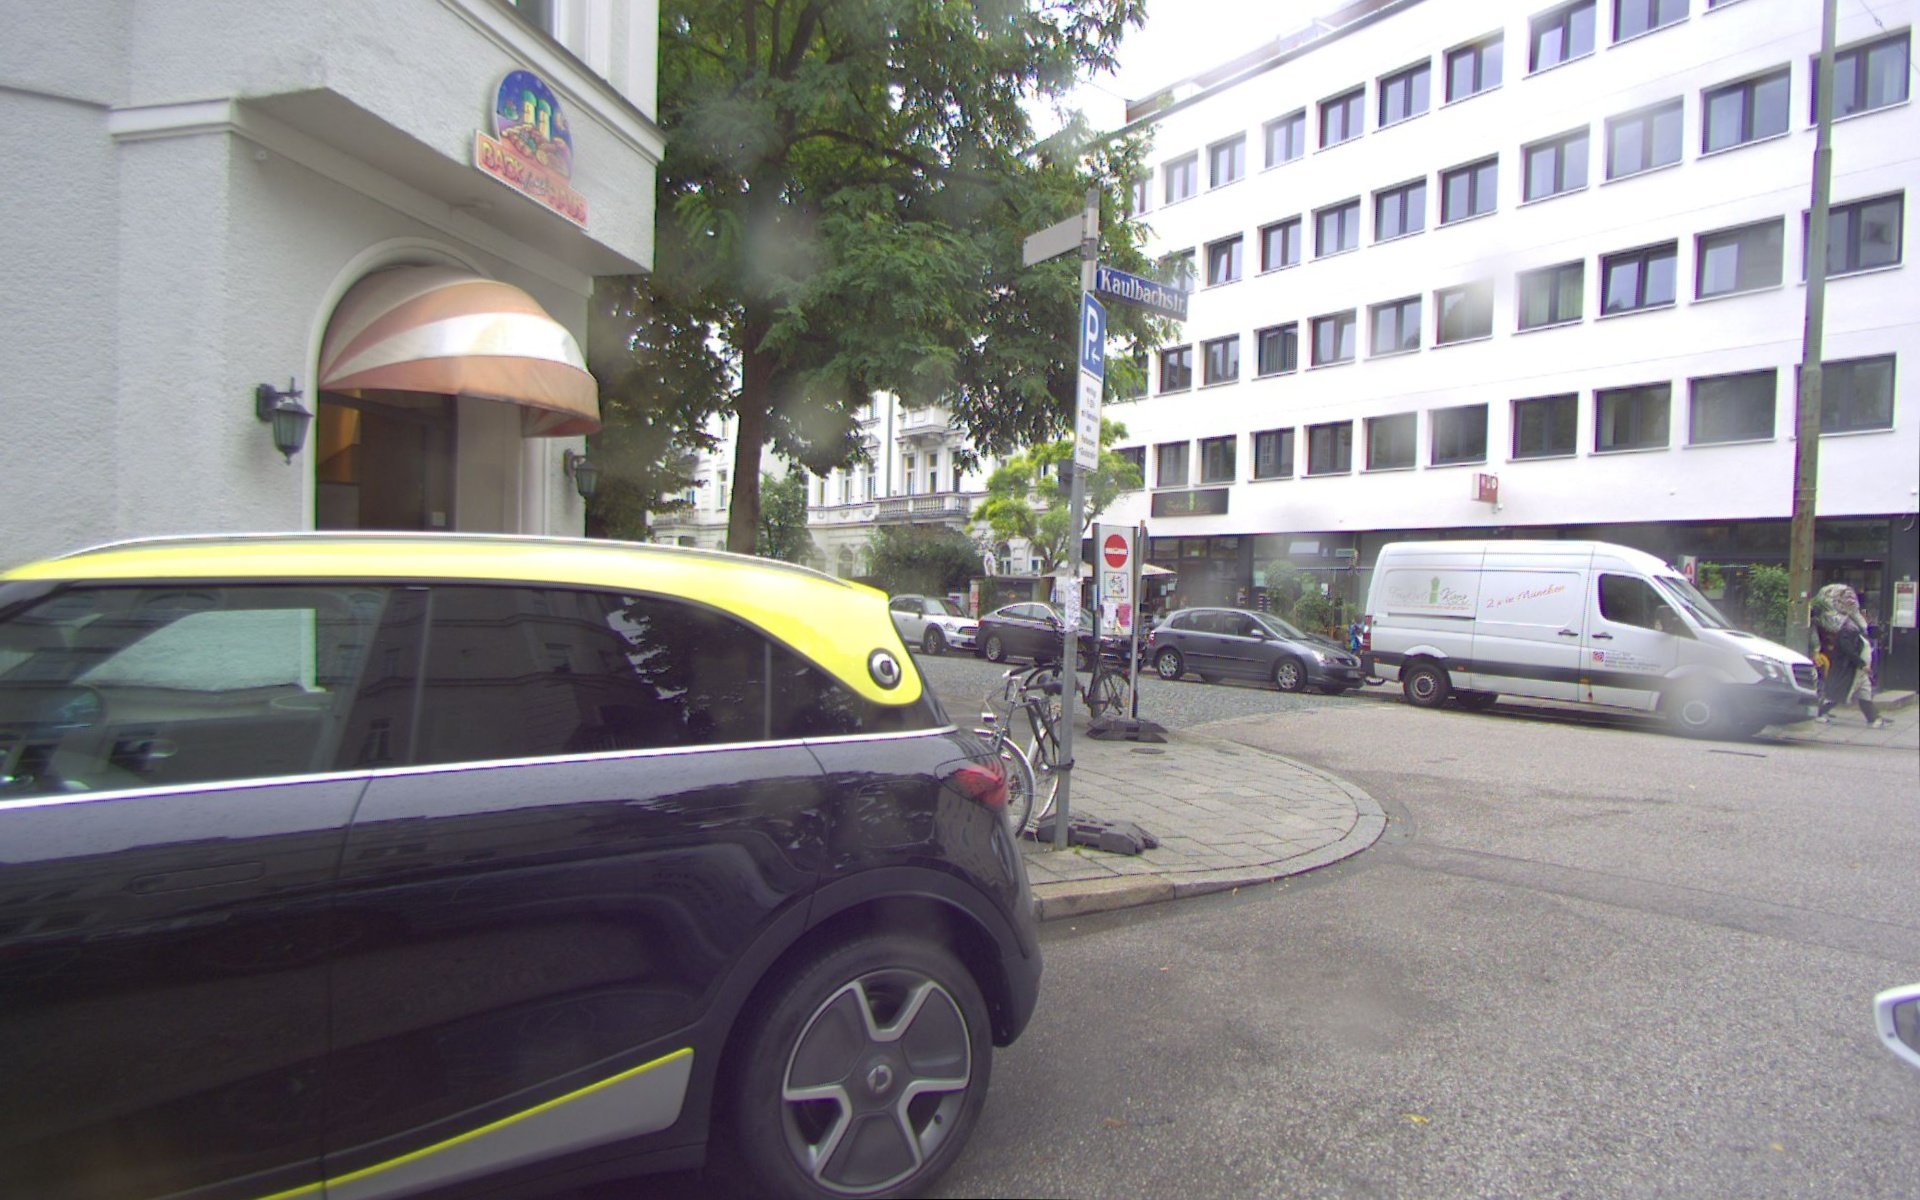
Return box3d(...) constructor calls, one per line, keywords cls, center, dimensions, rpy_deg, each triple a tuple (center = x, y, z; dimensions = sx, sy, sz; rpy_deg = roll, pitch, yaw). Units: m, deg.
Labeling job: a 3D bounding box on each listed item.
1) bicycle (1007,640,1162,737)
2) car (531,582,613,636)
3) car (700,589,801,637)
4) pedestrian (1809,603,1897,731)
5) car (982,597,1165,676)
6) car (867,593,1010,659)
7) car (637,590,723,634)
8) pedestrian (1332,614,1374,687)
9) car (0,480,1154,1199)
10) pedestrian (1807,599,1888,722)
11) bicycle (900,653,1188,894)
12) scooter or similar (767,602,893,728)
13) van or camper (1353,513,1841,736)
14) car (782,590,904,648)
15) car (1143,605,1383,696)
box3d(cls="bicycle", center=(1.471, 1.010, 11.896), dimensions=(1.537, 0.959, 0.896), rpy_deg=(3, 0, 34))
box3d(cls="car", center=(-13.185, 0.288, 33.985), dimensions=(1.891, 1.629, 4.104), rpy_deg=(3, -1, -30))
box3d(cls="car", center=(-7.640, 0.442, 36.390), dimensions=(1.897, 1.629, 4.090), rpy_deg=(1, 0, -39))
box3d(cls="pedestrian", center=(13.211, 0.963, 14.893), dimensions=(0.780, 1.770, 0.769), rpy_deg=(4, 4, 35))
box3d(cls="car", center=(2.490, 0.792, 22.975), dimensions=(1.784, 1.564, 4.093), rpy_deg=(3, -1, -38))
box3d(cls="car", center=(-0.667, 0.664, 27.165), dimensions=(1.783, 1.565, 4.095), rpy_deg=(3, -1, -36))
box3d(cls="car", center=(-11.456, 0.453, 40.946), dimensions=(1.896, 1.629, 4.090), rpy_deg=(-2, 2, -39))
box3d(cls="pedestrian", center=(8.409, 1.076, 21.536), dimensions=(0.580, 1.501, 0.653), rpy_deg=(4, 1, 4))
box3d(cls="car", center=(-1.572, 0.647, 2.481), dimensions=(3.898, 1.618, 1.669), rpy_deg=(2, -2, -30))
box3d(cls="pedestrian", center=(13.712, 0.911, 15.544), dimensions=(0.767, 1.808, 0.617), rpy_deg=(4, 4, 35))
box3d(cls="bicycle", center=(0.541, 0.894, 5.815), dimensions=(0.884, 1.059, 1.651), rpy_deg=(4, 2, 36))
box3d(cls="scooter or similar", center=(-1.353, 0.665, 10.387), dimensions=(1.168, 1.232, 0.554), rpy_deg=(2, 2, -18))
box3d(cls="van or camper", center=(9.145, 0.292, 15.075), dimensions=(1.857, 2.712, 5.858), rpy_deg=(3, -1, -38))
box3d(cls="car", center=(-3.714, 0.563, 31.376), dimensions=(1.897, 1.629, 4.090), rpy_deg=(1, 0, -39))
box3d(cls="car", center=(5.688, 0.917, 19.188), dimensions=(1.787, 1.447, 4.015), rpy_deg=(5, -2, -42))
